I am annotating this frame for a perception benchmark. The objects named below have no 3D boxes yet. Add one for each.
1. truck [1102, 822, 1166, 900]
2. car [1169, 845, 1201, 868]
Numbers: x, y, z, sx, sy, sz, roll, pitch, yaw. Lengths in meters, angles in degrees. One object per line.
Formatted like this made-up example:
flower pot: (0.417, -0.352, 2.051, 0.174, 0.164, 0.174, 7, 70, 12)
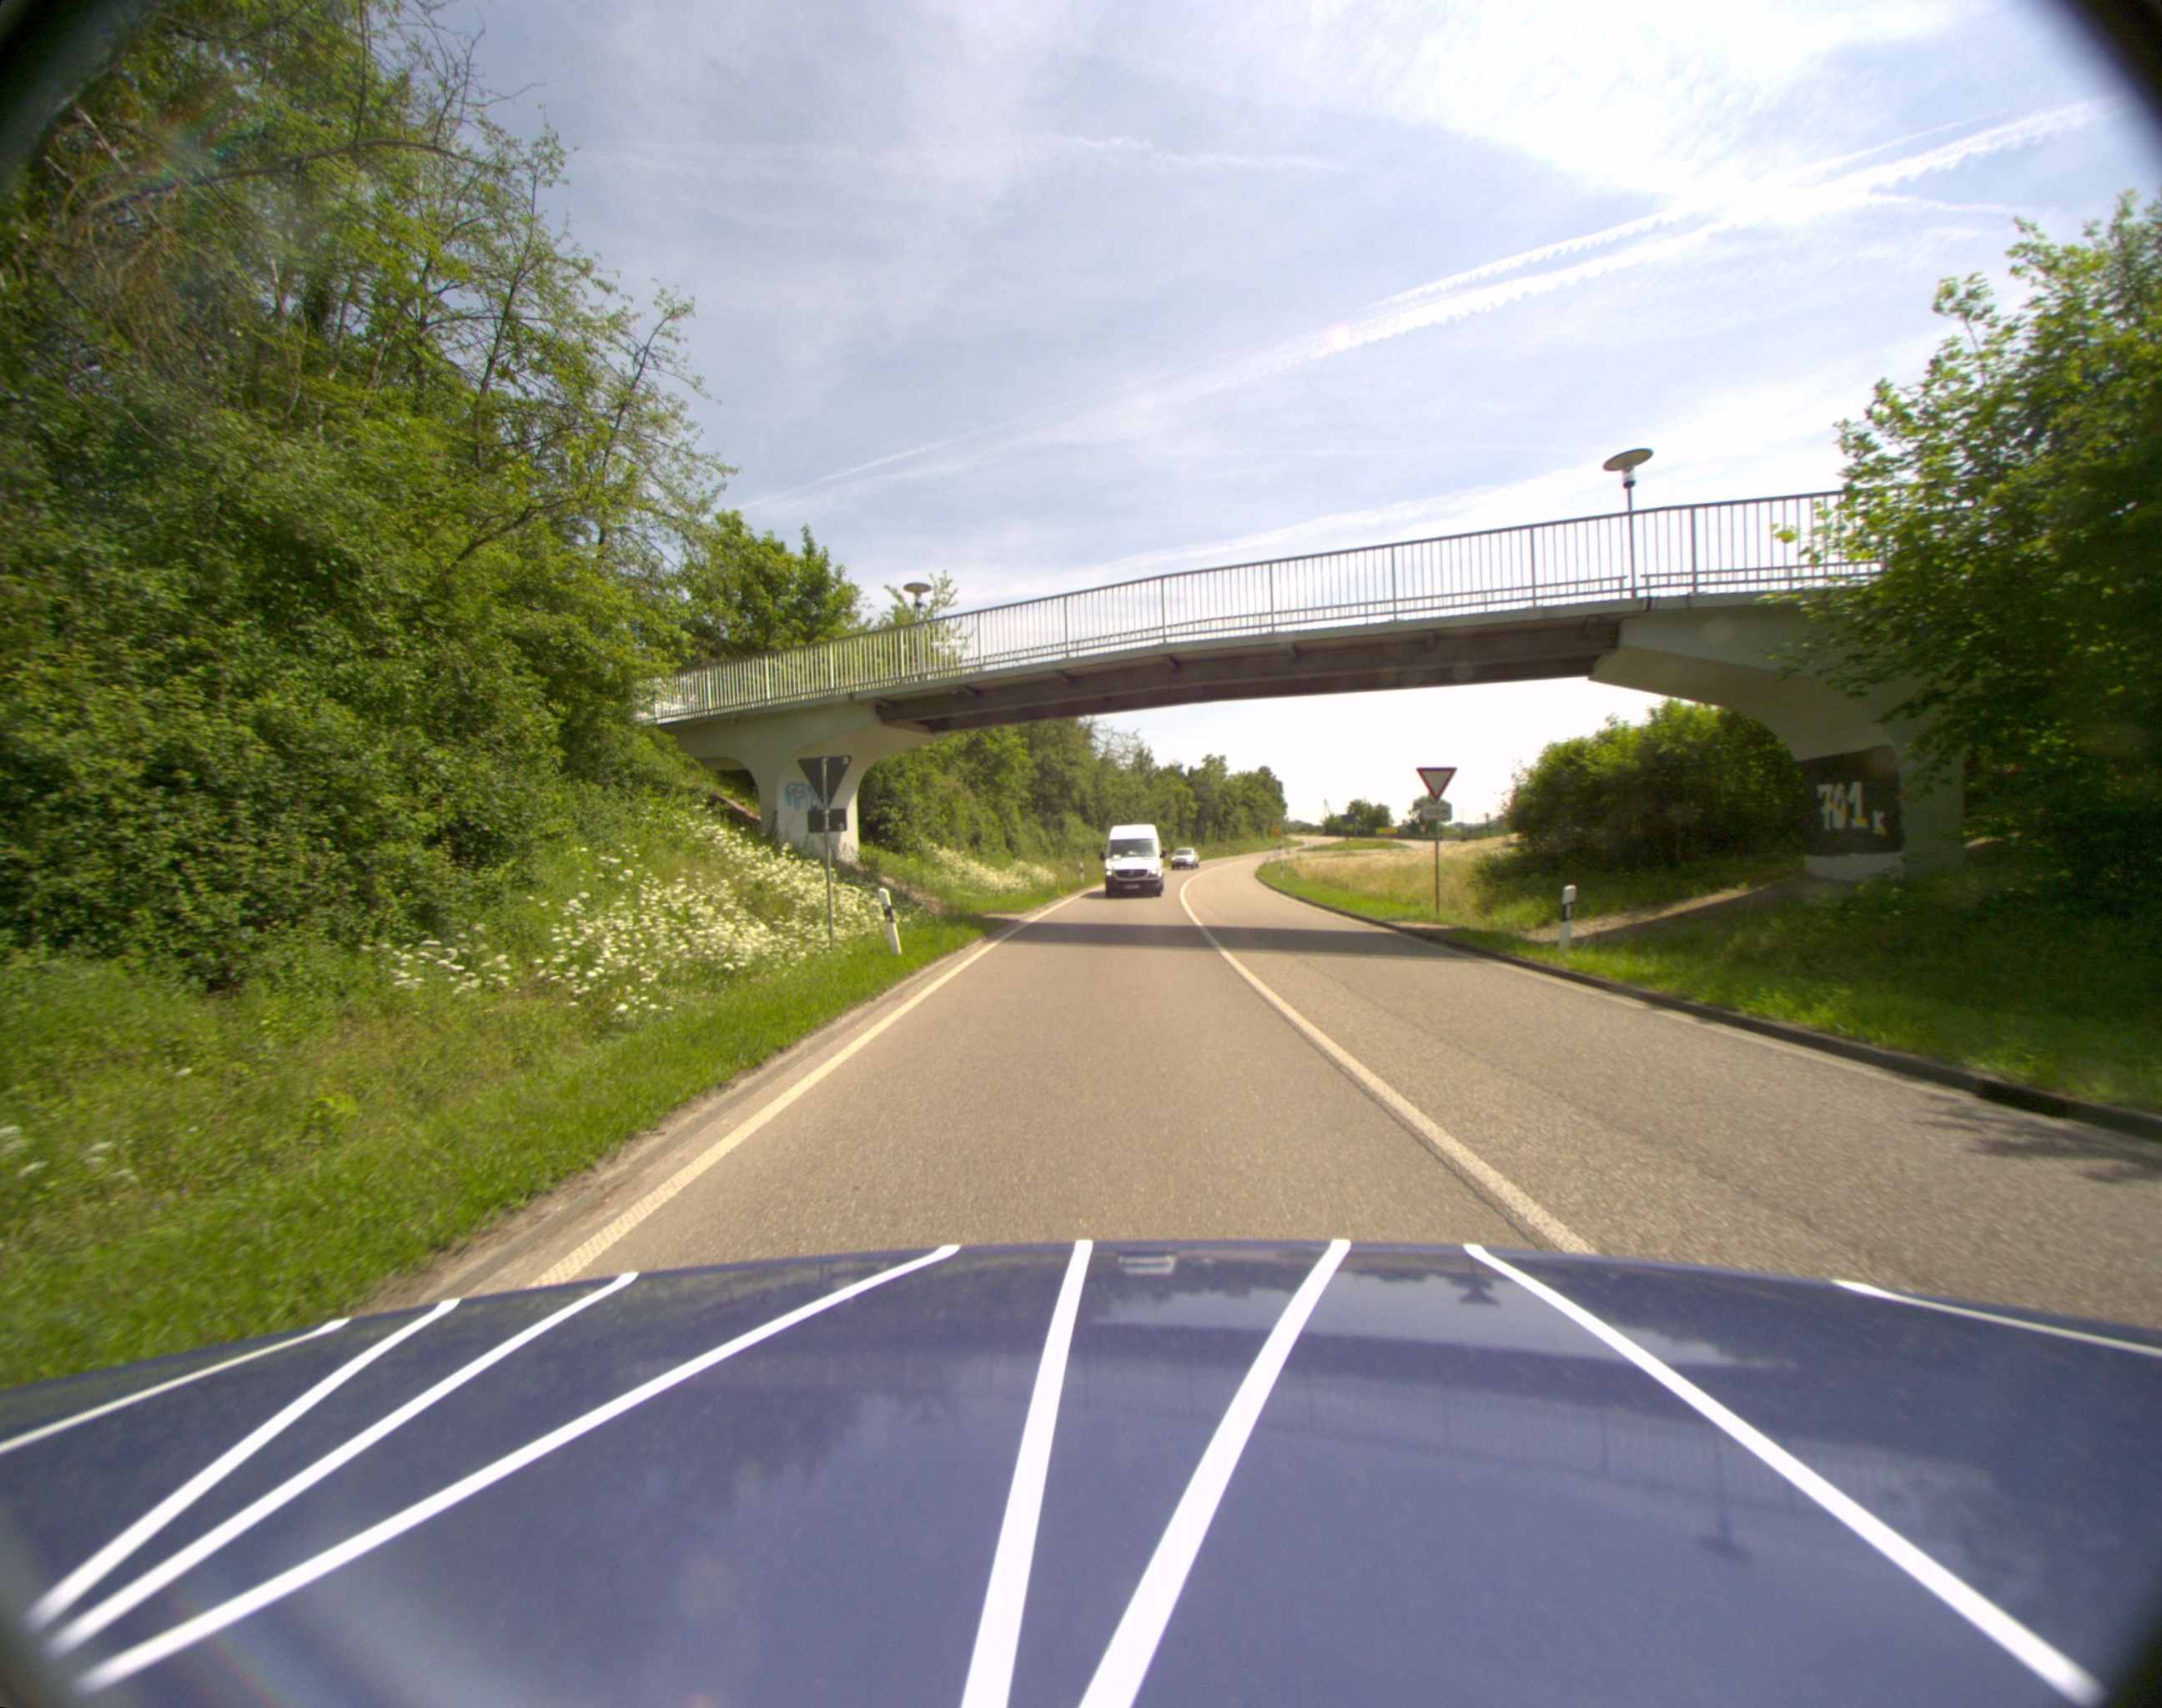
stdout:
truck: (2.112, 0.227, 28.591, 1.997, 2.571, 5.890, -2, 0, 7)
car: (8.391, 0.156, 61.029, 1.847, 1.698, 4.093, -2, 1, 17)
